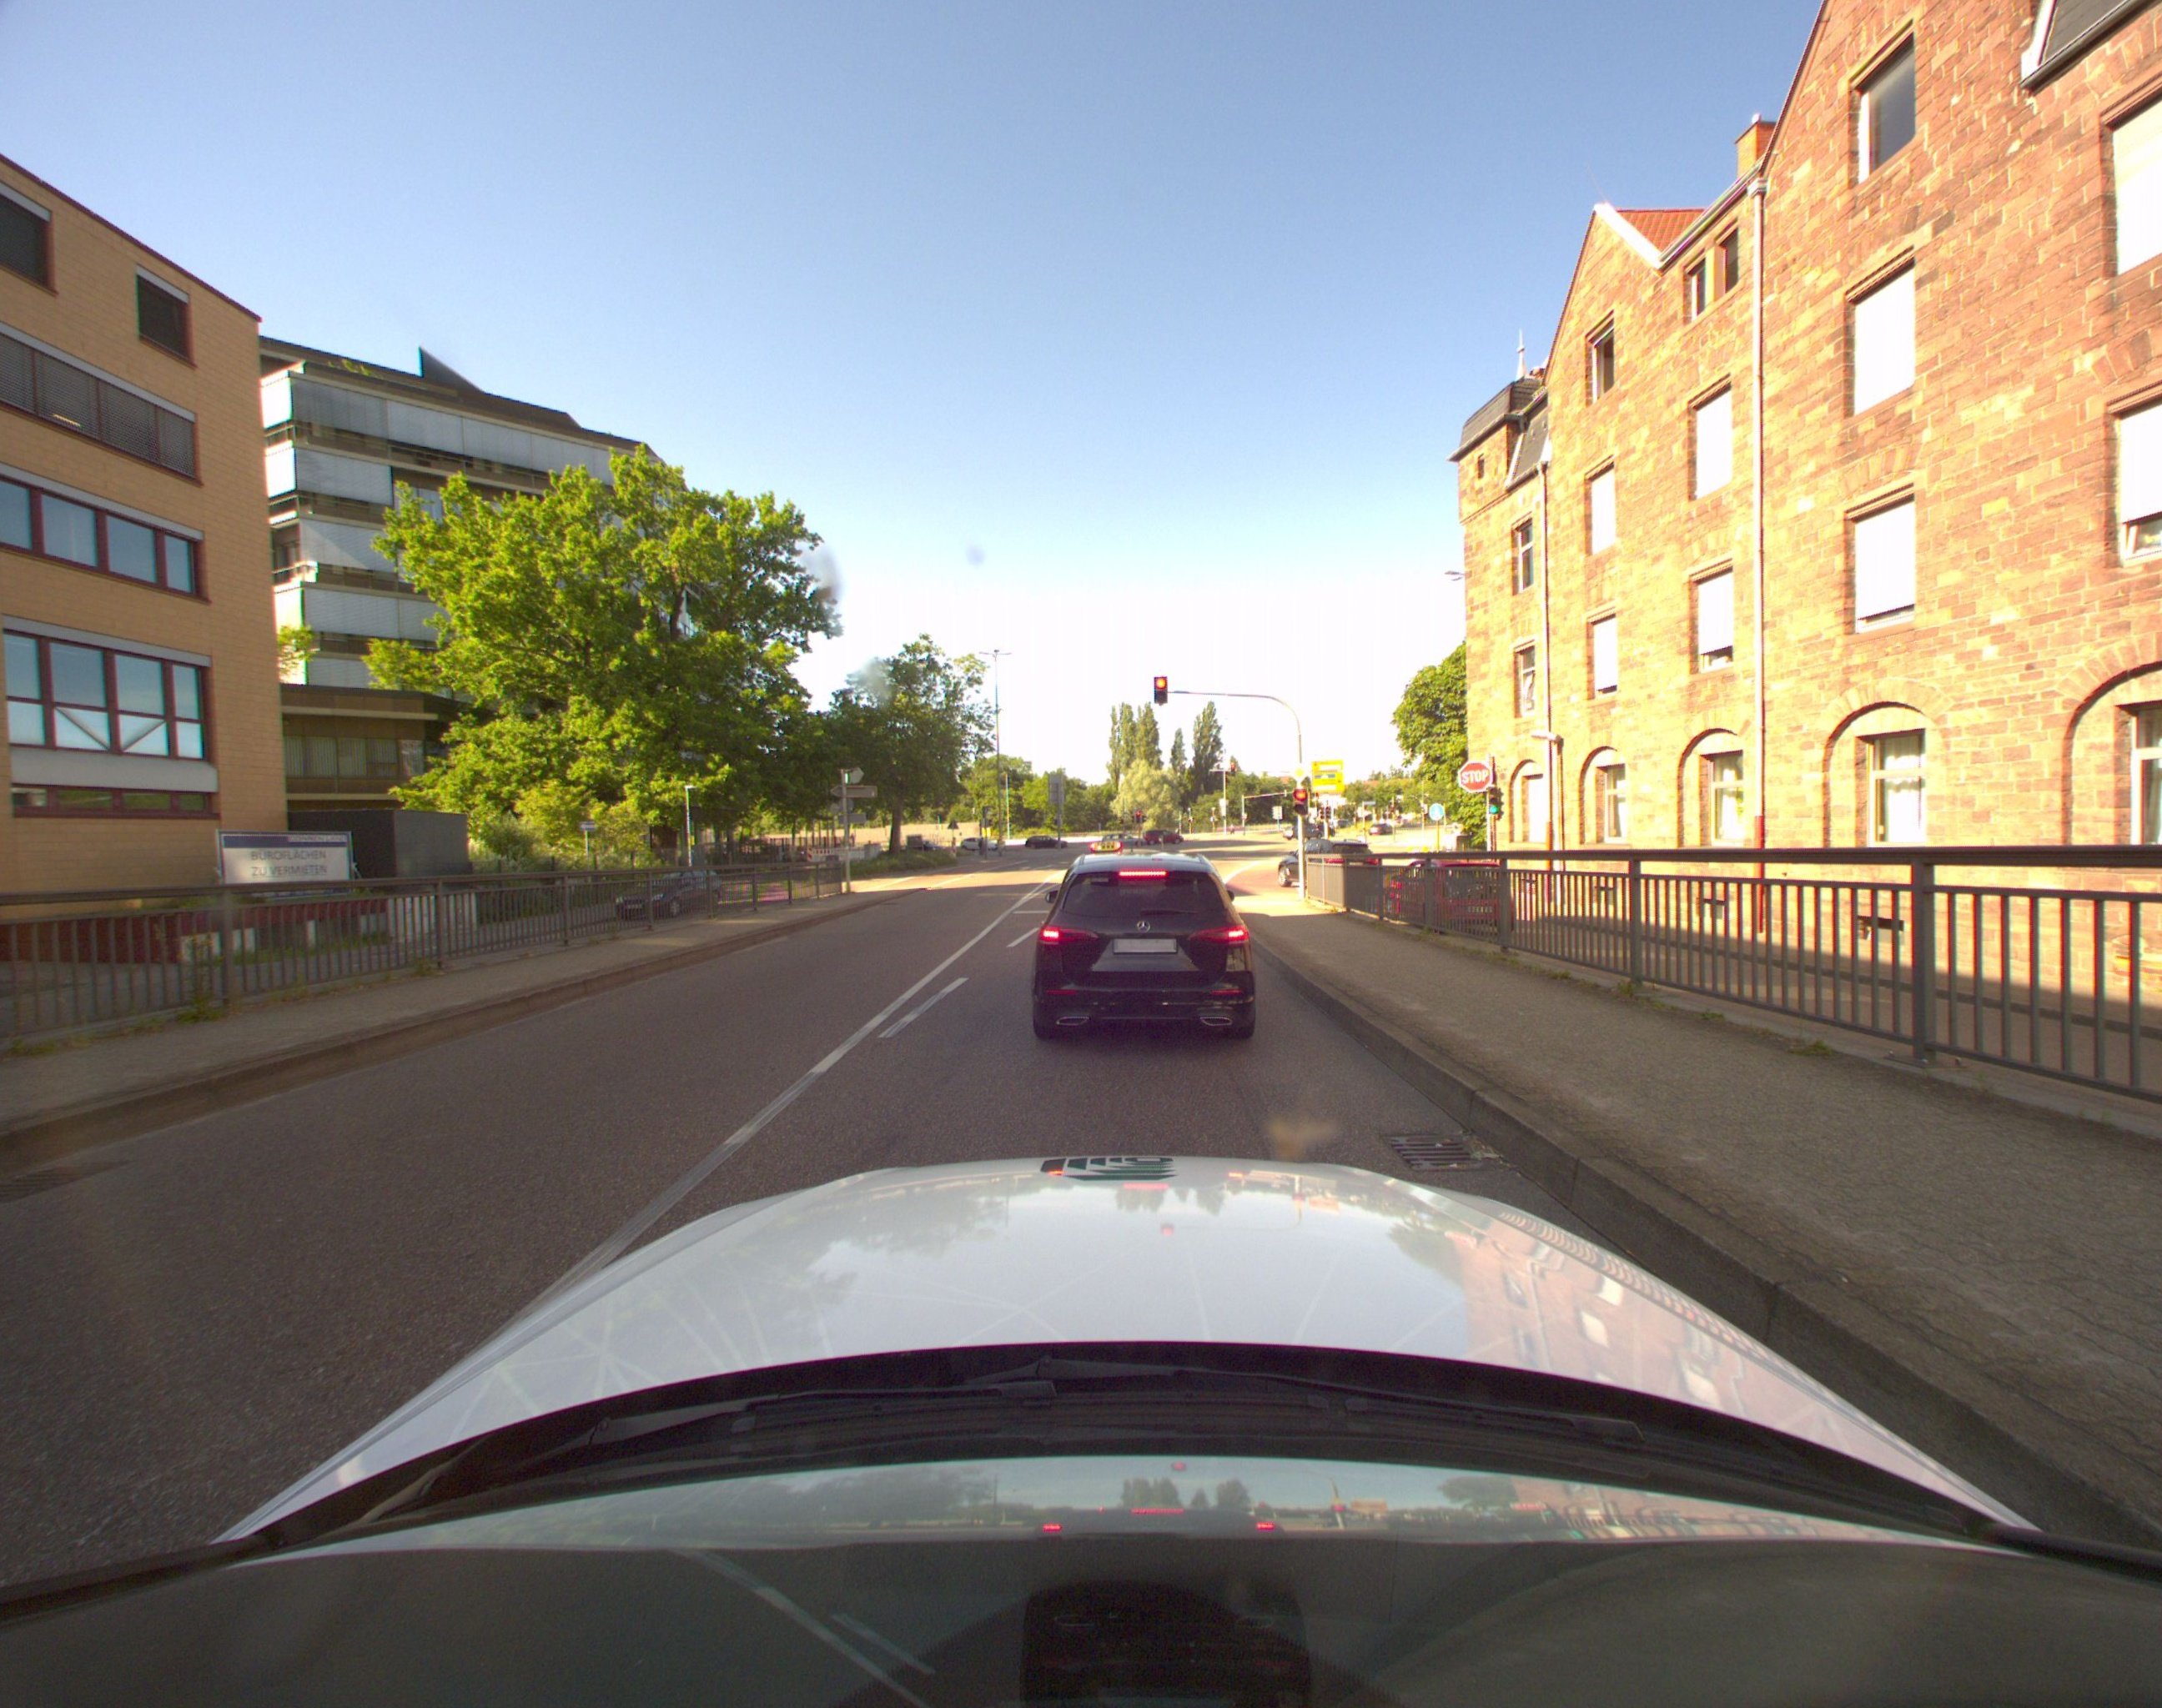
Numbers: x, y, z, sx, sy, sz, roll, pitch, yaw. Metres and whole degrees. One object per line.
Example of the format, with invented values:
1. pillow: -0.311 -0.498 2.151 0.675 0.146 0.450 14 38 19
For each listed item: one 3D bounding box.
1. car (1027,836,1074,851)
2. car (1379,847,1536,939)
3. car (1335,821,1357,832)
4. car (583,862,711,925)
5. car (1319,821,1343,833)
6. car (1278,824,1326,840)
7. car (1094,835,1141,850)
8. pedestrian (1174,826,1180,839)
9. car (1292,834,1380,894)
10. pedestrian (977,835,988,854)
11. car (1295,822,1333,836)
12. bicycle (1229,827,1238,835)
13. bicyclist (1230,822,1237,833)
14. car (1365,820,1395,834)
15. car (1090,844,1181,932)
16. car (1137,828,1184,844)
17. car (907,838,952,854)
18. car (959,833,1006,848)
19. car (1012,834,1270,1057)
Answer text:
1. car: -3.251 -1.115 86.123 4.543 1.294 1.895 -2 2 17
2. car: 7.618 0.711 16.831 1.715 1.521 3.488 -2 3 2
3. car: 38.769 -4.012 119.170 1.860 1.578 4.026 -1 2 38
4. car: -13.953 1.205 26.493 1.844 1.692 4.002 -2 2 2
5. car: 35.071 -3.763 114.097 1.860 1.578 4.026 -1 2 38
6. car: 23.381 -2.312 86.267 4.834 1.441 1.983 -4 3 -27
7. car: 3.597 -1.141 80.190 4.560 1.294 2.002 -3 2 3
8. pedestrian: 12.191 -2.714 103.782 0.446 1.585 0.504 -2 1 42
9. car: 8.446 0.308 27.336 1.715 1.812 4.299 1 0 2
10. pedestrian: -8.301 -0.788 68.382 0.700 1.525 0.746 -1 1 12
11. car: 26.349 -2.817 92.101 4.090 1.357 1.770 -4 3 -30
12. bicycle: 21.319 -3.255 113.799 0.520 1.050 2.003 -2 1 35
13. bicyclist: 21.307 -3.715 113.779 0.520 1.551 0.812 -2 1 35
14. car: 34.645 -3.128 94.301 1.974 1.441 4.323 -1 3 37
15. car: 1.135 0.608 16.820 1.632 1.529 3.478 -2 1 4
16. car: 8.337 -1.912 85.410 4.530 1.455 1.997 -3 2 -5
17. car: -14.496 -0.793 77.948 4.146 1.407 1.759 -1 2 34
18. car: -10.140 -1.406 83.707 4.261 1.365 2.012 -2 3 25
19. car: 0.500 0.651 7.941 1.871 1.613 4.002 0 1 2
